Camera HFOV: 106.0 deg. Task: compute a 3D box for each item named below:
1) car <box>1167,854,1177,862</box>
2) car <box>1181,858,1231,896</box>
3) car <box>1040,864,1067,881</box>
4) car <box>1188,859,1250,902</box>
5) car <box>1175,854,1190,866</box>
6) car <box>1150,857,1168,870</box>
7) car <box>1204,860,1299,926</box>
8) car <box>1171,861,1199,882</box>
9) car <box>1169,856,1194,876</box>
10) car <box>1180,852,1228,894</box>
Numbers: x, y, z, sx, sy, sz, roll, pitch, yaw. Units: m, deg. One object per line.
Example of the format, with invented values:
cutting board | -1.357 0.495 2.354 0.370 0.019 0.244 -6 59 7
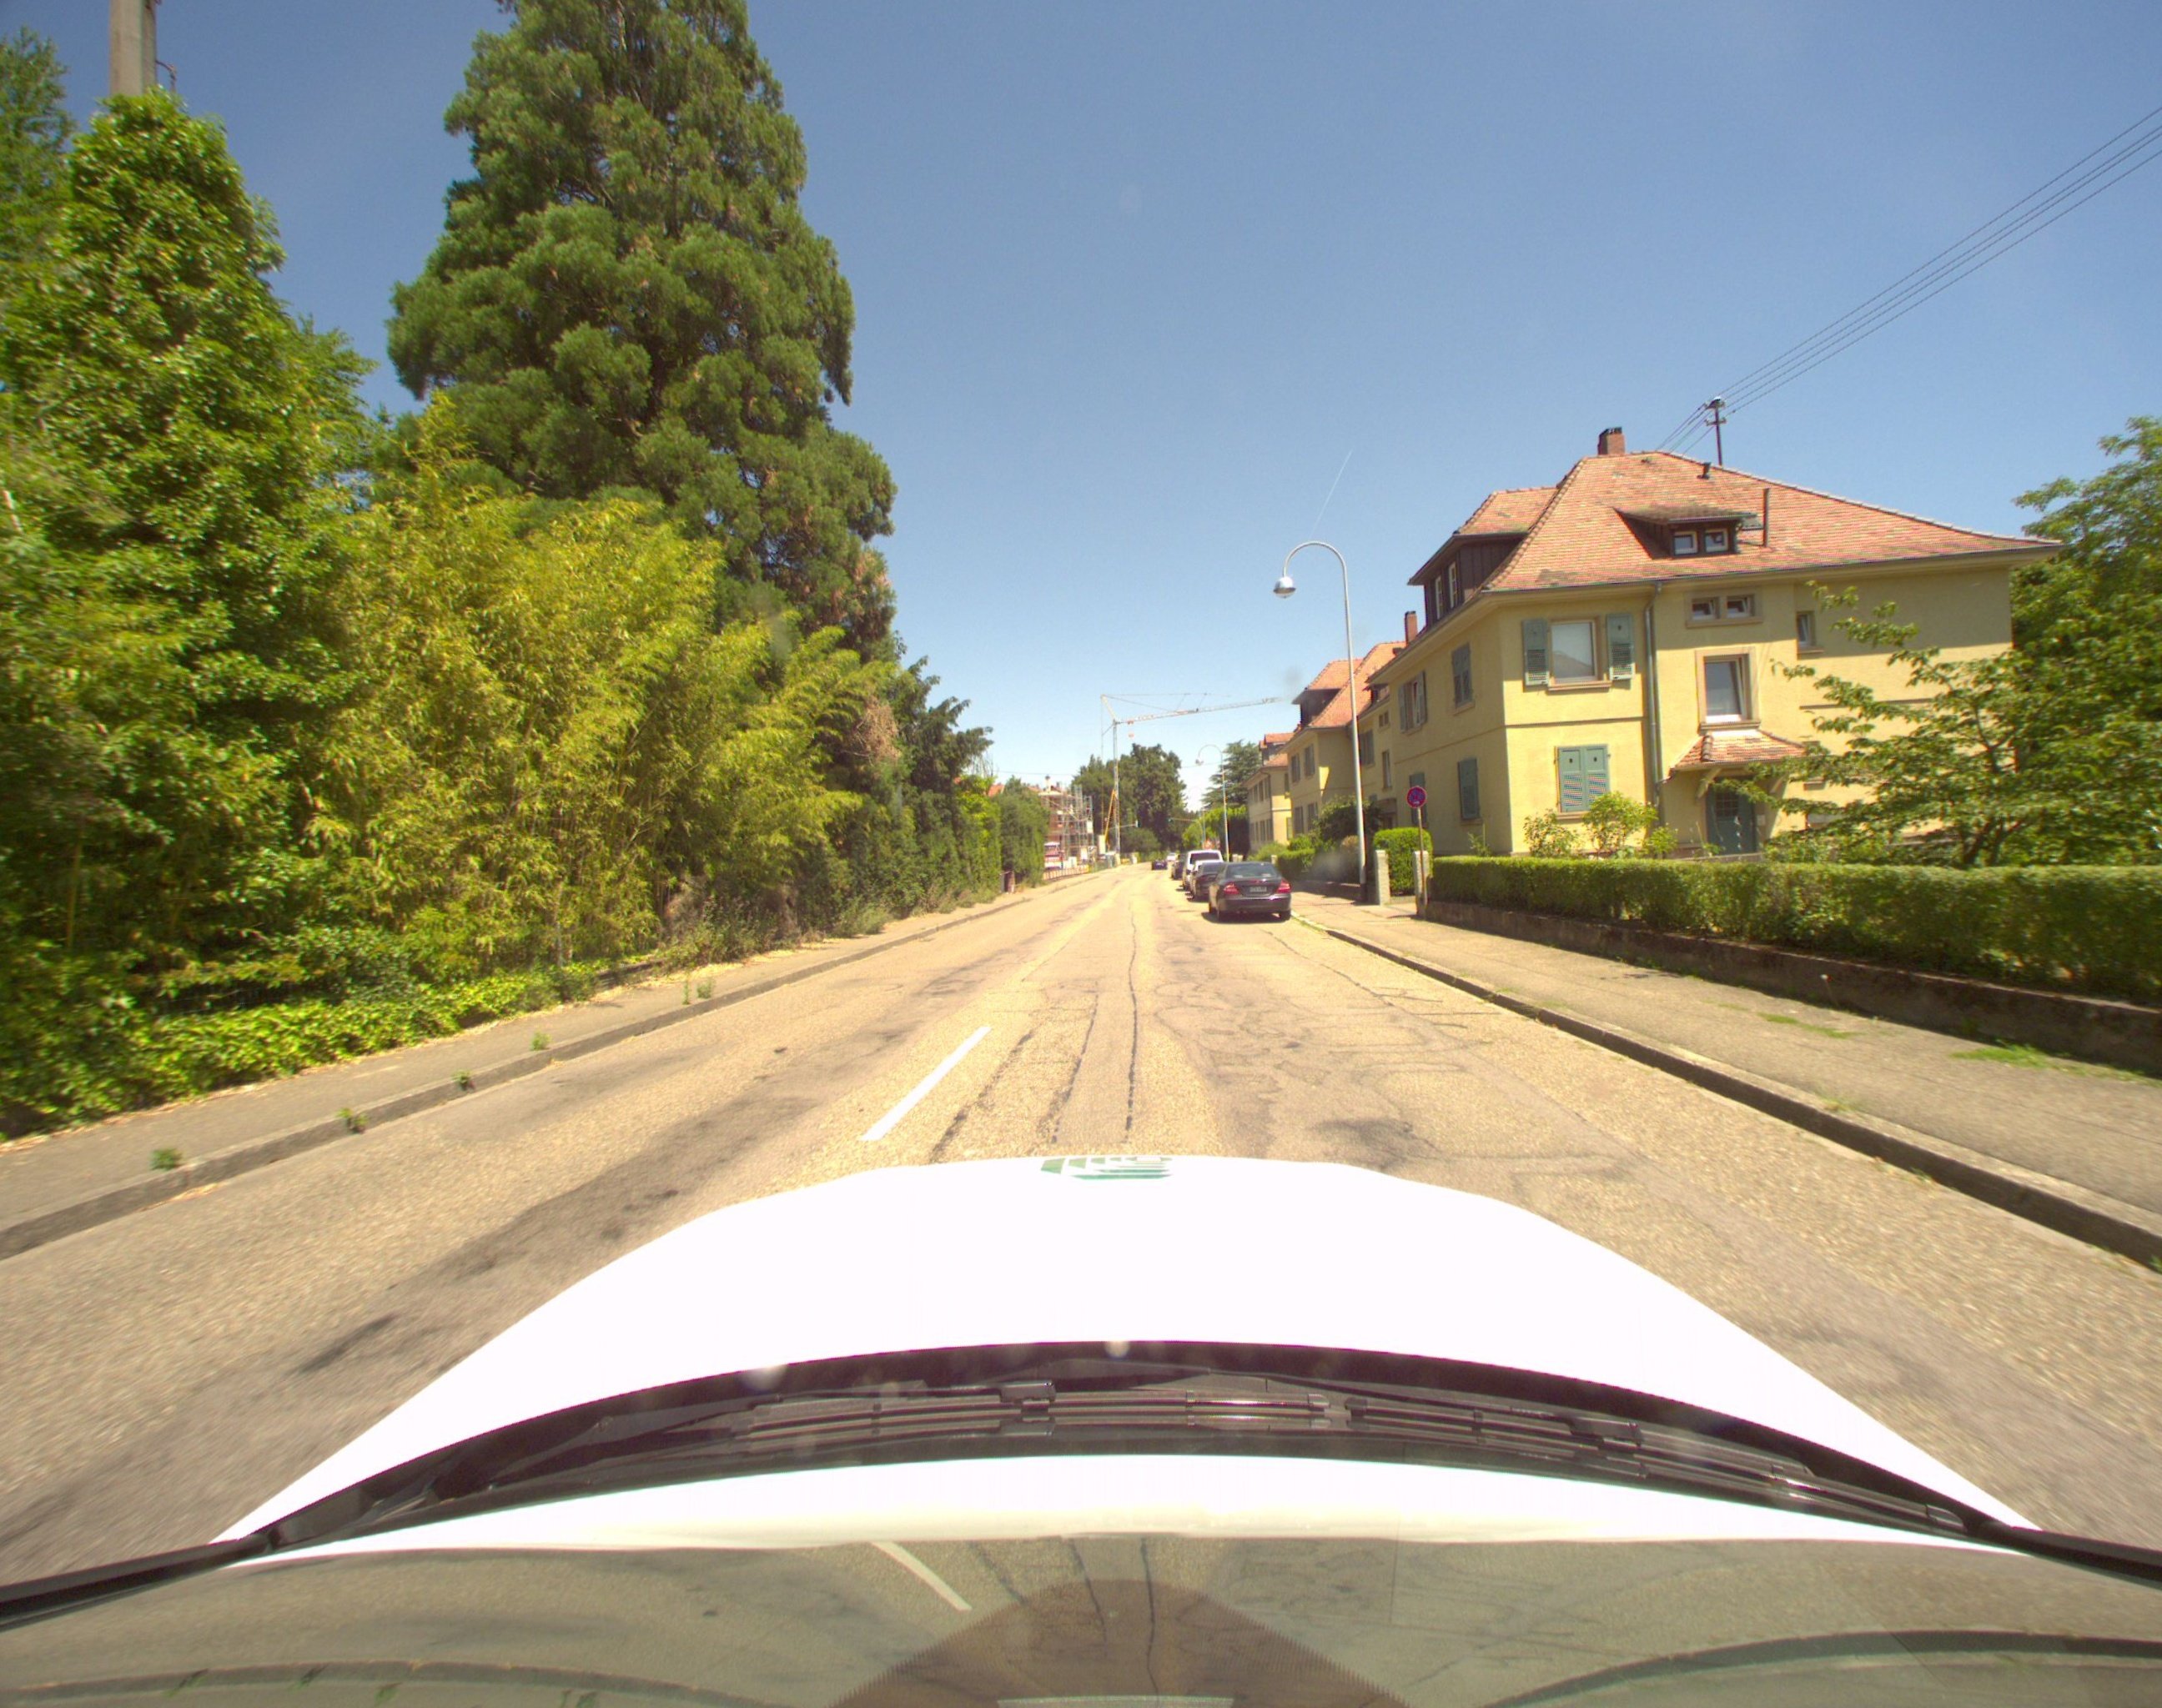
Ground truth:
car | 17.677 0.790 158.604 1.751 1.451 3.849 -2 0 9
car | 5.269 0.921 34.690 1.753 1.451 3.652 -2 0 4
car | -2.521 1.674 74.297 1.649 1.389 3.545 -3 -1 11
car | 4.957 0.912 29.795 1.753 1.371 4.612 -2 0 4
car | 14.932 0.898 119.275 1.982 1.662 4.010 -3 -1 9
car | 9.570 1.151 99.396 1.947 1.468 4.010 -2 0 8
car | 4.162 0.910 20.511 1.685 1.419 4.556 -2 -1 4
car | 7.663 1.276 60.201 1.753 1.451 3.843 -2 0 4
car | 8.055 0.941 65.759 1.753 1.451 3.893 -2 0 4
car | 6.012 0.906 40.177 1.984 1.901 4.828 -1 0 4
